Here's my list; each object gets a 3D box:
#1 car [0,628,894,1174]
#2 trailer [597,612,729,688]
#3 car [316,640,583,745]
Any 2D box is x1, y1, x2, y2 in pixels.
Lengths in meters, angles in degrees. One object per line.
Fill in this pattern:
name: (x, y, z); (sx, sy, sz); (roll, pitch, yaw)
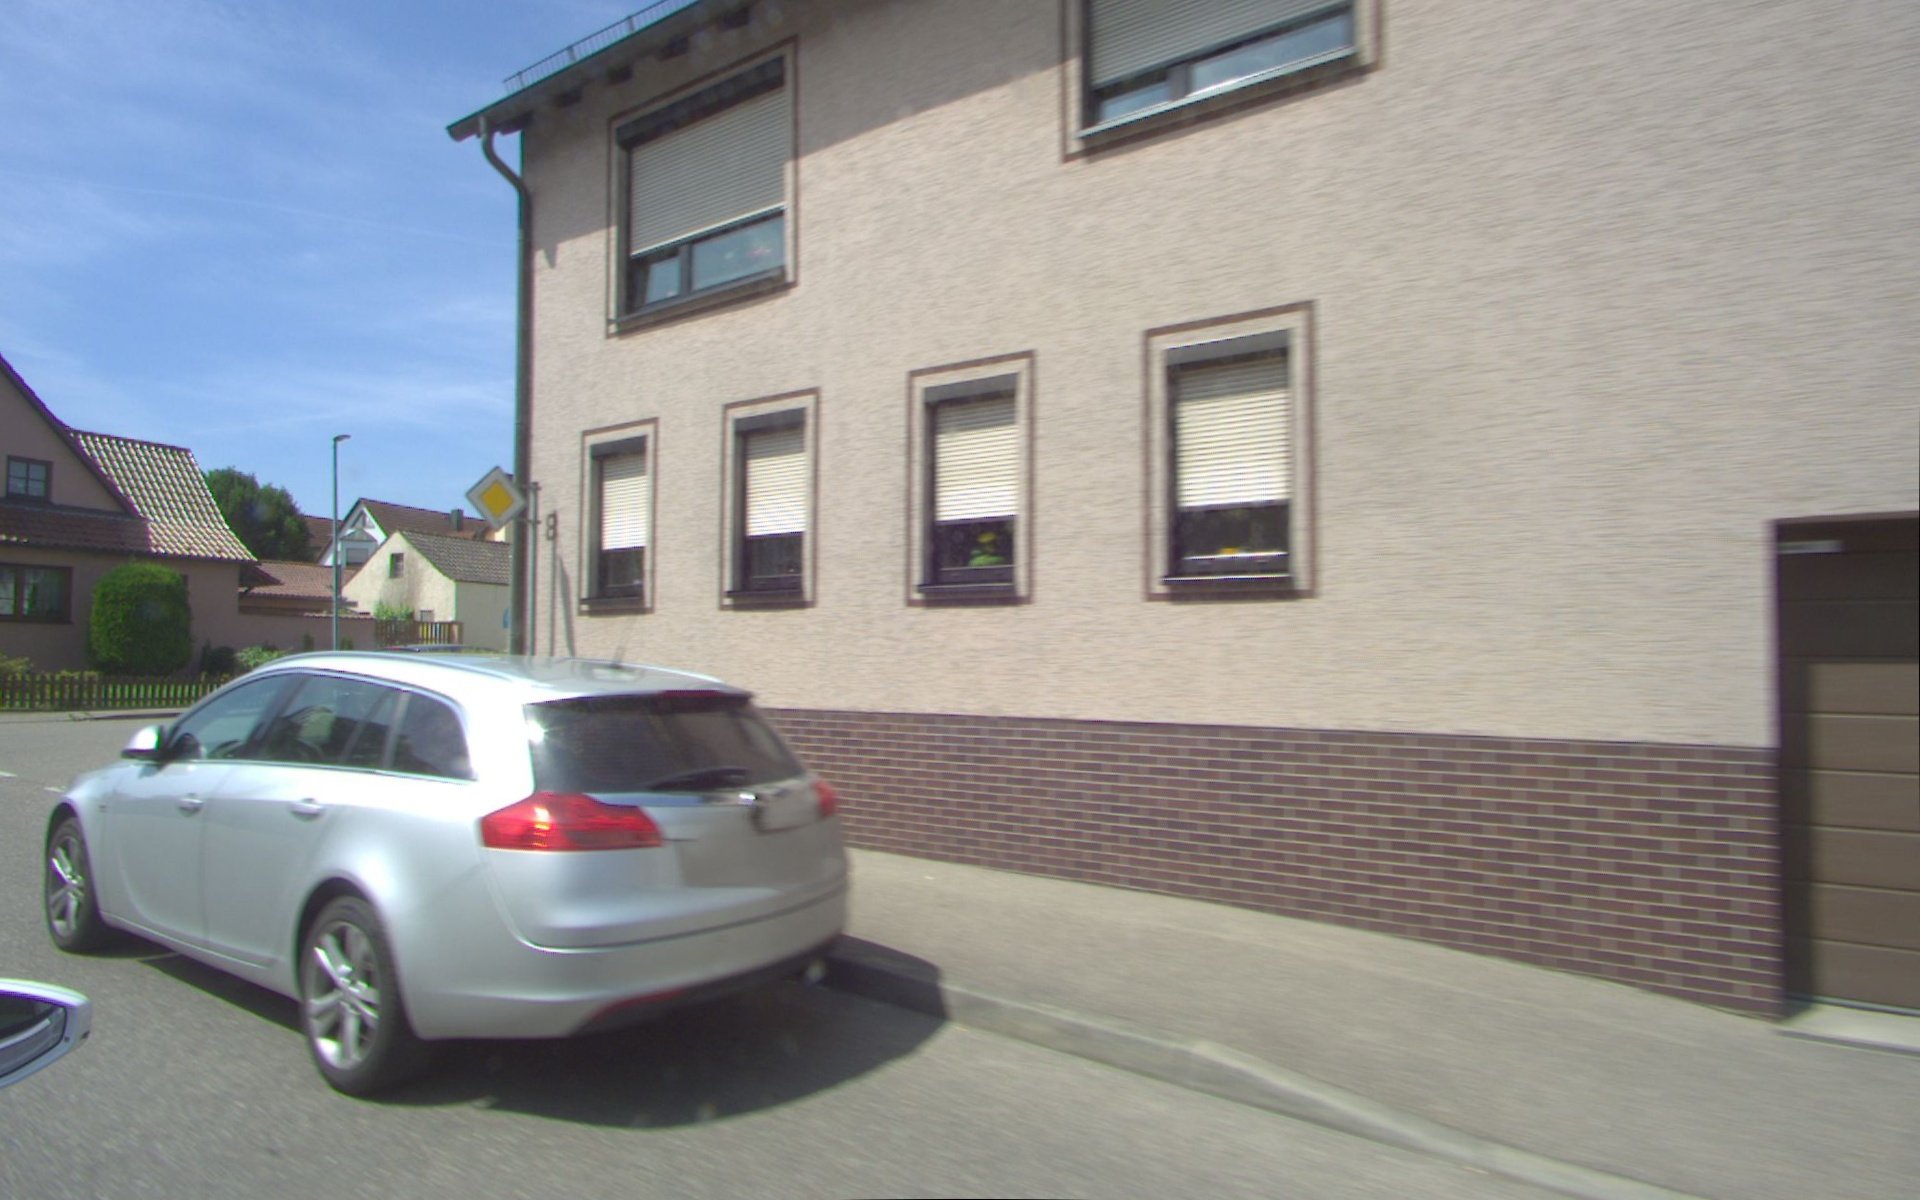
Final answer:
car: (-2.583, 0.937, 4.723); (4.274, 1.459, 1.784); (0, -4, 32)
trailer: (-11.928, 2.007, 40.269); (4.678, 2.848, 1.999); (1, -2, 15)
car: (-8.373, 1.482, 16.832); (1.855, 1.506, 3.814); (1, -3, 16)
